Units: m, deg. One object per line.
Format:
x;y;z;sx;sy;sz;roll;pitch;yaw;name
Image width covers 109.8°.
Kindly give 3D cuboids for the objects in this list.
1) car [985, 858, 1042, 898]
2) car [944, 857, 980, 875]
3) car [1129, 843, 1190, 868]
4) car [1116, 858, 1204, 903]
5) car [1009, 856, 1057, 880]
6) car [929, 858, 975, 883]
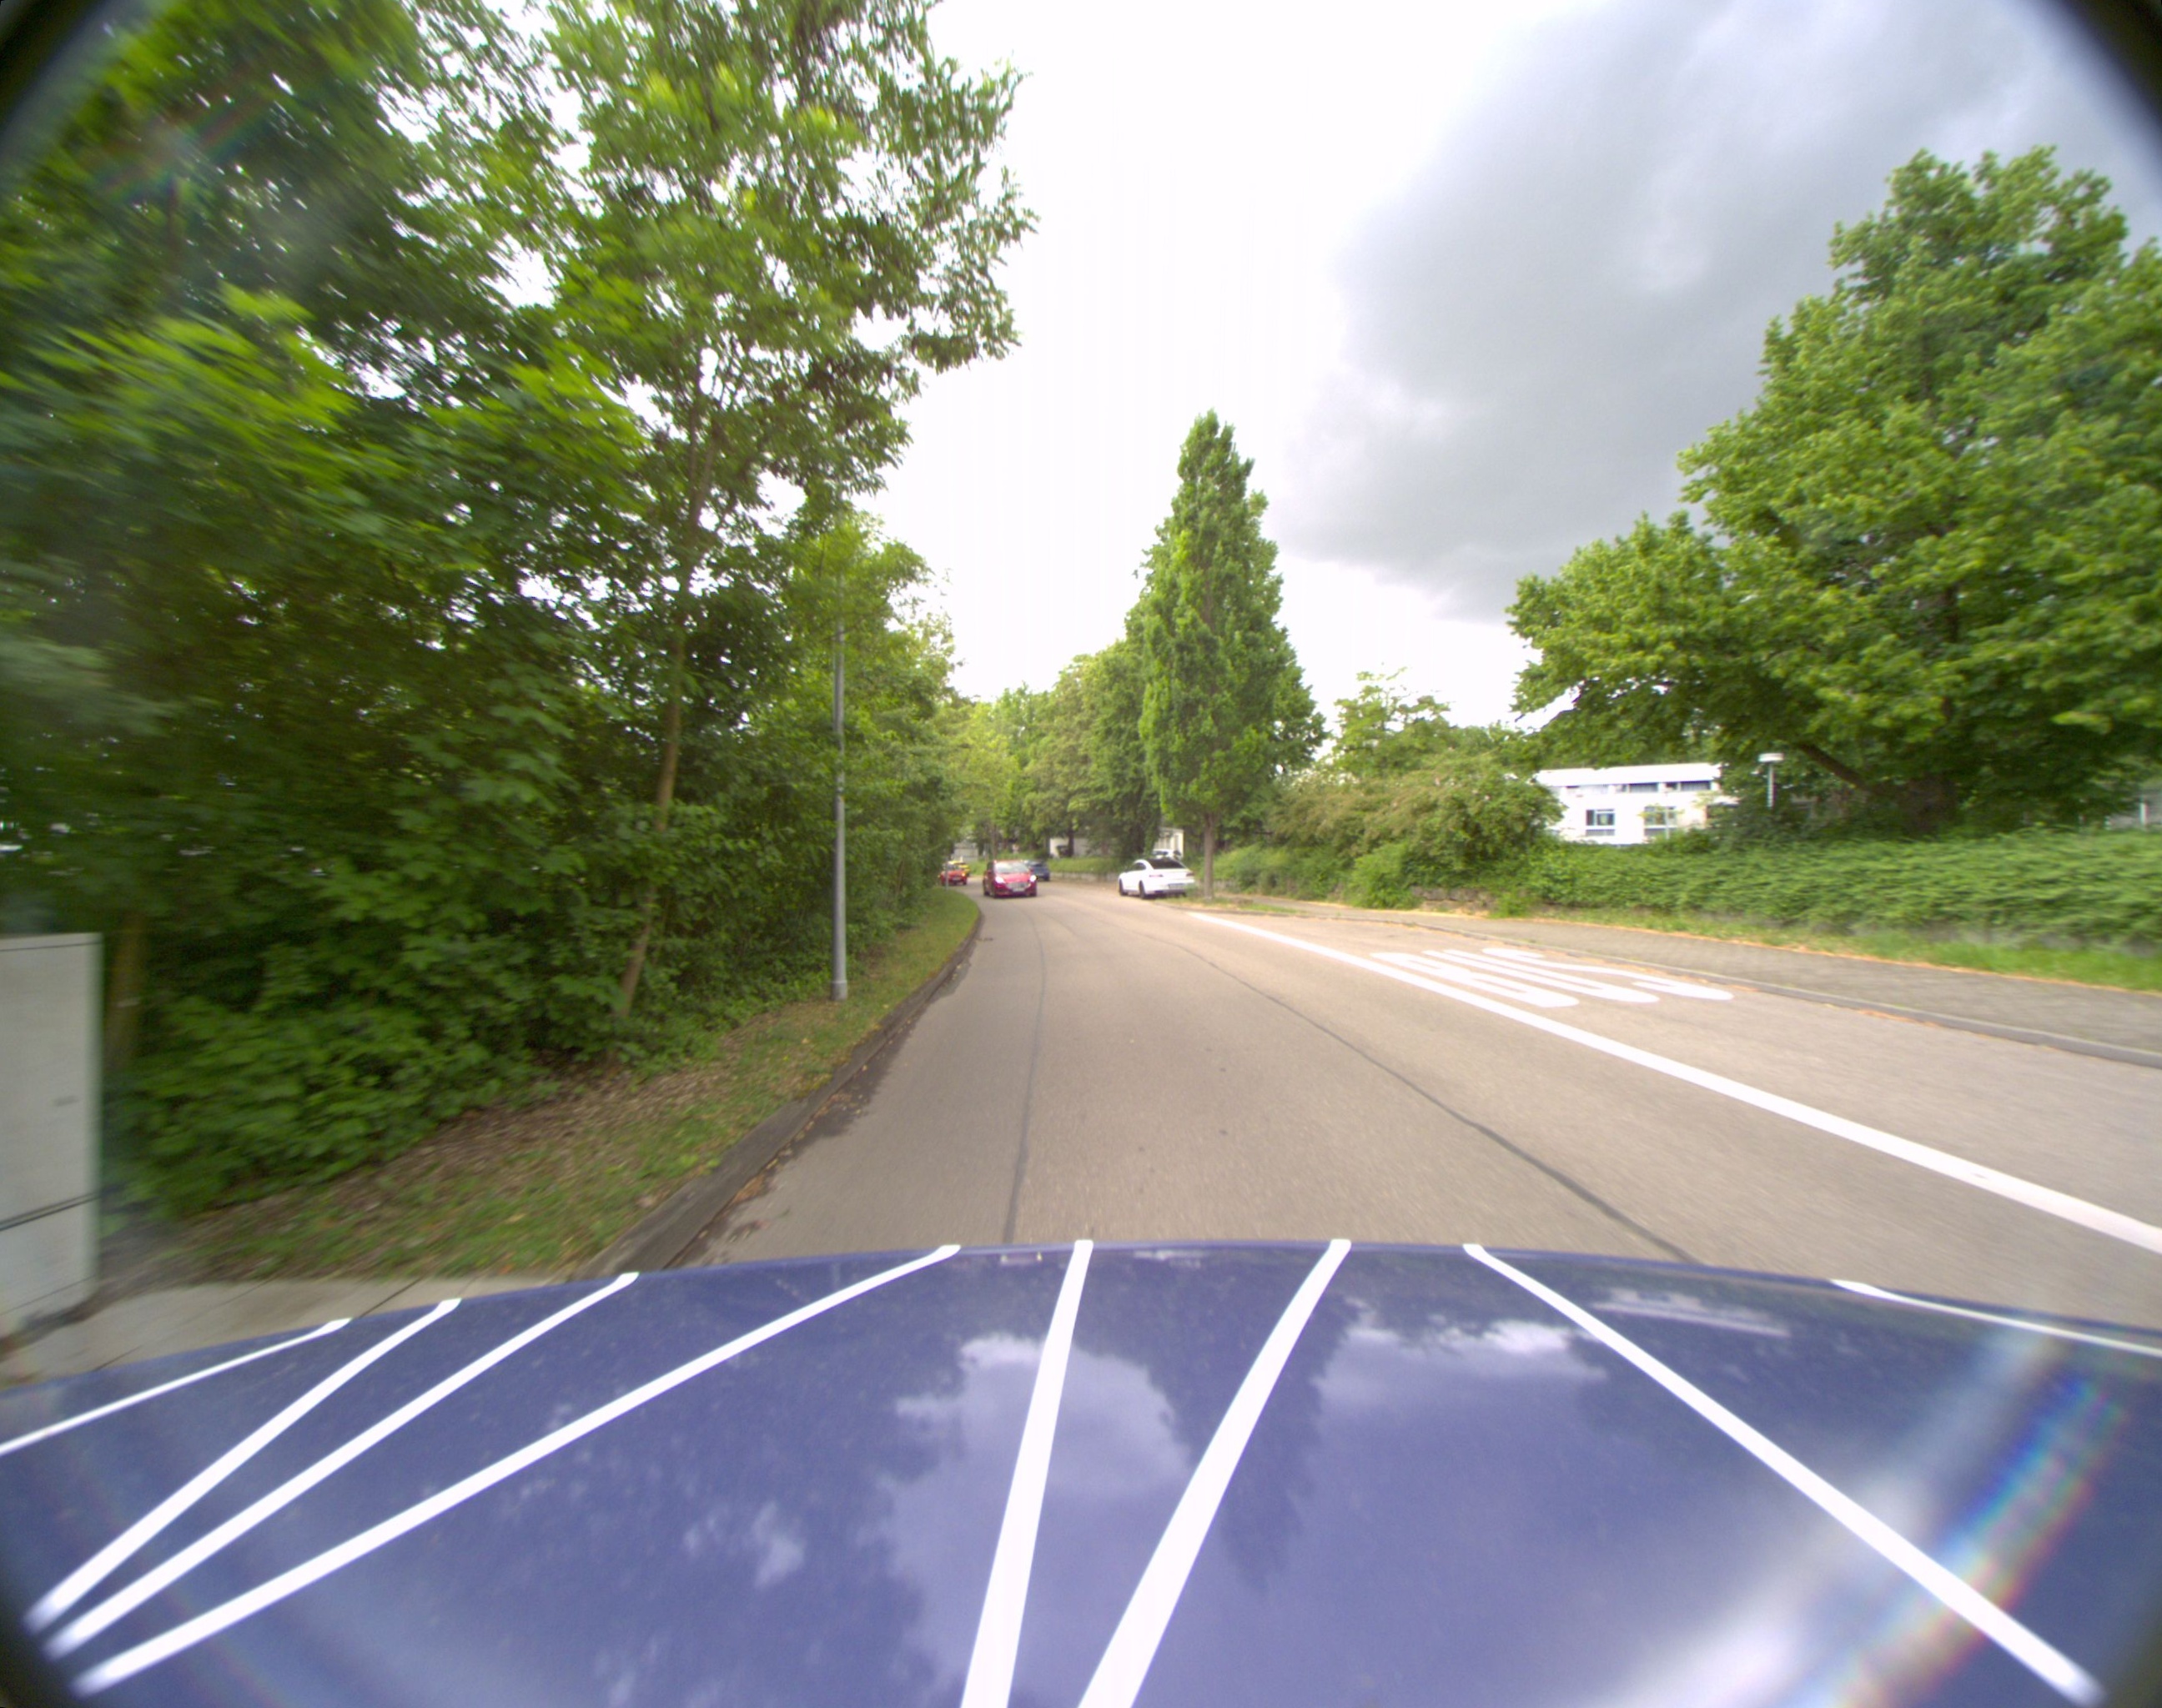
-3.072;1.011;33.755;1.947;1.550;4.350;-2;1;-12;car
-10.479;1.073;66.681;1.856;1.483;3.991;-2;0;-30;car
5.594;0.103;54.346;3.801;1.629;2.003;-1;2;32;car
2.786;0.901;27.930;1.854;1.483;4.631;-1;0;-11;car
-3.220;0.910;50.296;1.856;1.483;3.992;-2;0;-24;car
-8.598;1.089;50.412;1.951;1.522;4.078;-2;0;-25;car
